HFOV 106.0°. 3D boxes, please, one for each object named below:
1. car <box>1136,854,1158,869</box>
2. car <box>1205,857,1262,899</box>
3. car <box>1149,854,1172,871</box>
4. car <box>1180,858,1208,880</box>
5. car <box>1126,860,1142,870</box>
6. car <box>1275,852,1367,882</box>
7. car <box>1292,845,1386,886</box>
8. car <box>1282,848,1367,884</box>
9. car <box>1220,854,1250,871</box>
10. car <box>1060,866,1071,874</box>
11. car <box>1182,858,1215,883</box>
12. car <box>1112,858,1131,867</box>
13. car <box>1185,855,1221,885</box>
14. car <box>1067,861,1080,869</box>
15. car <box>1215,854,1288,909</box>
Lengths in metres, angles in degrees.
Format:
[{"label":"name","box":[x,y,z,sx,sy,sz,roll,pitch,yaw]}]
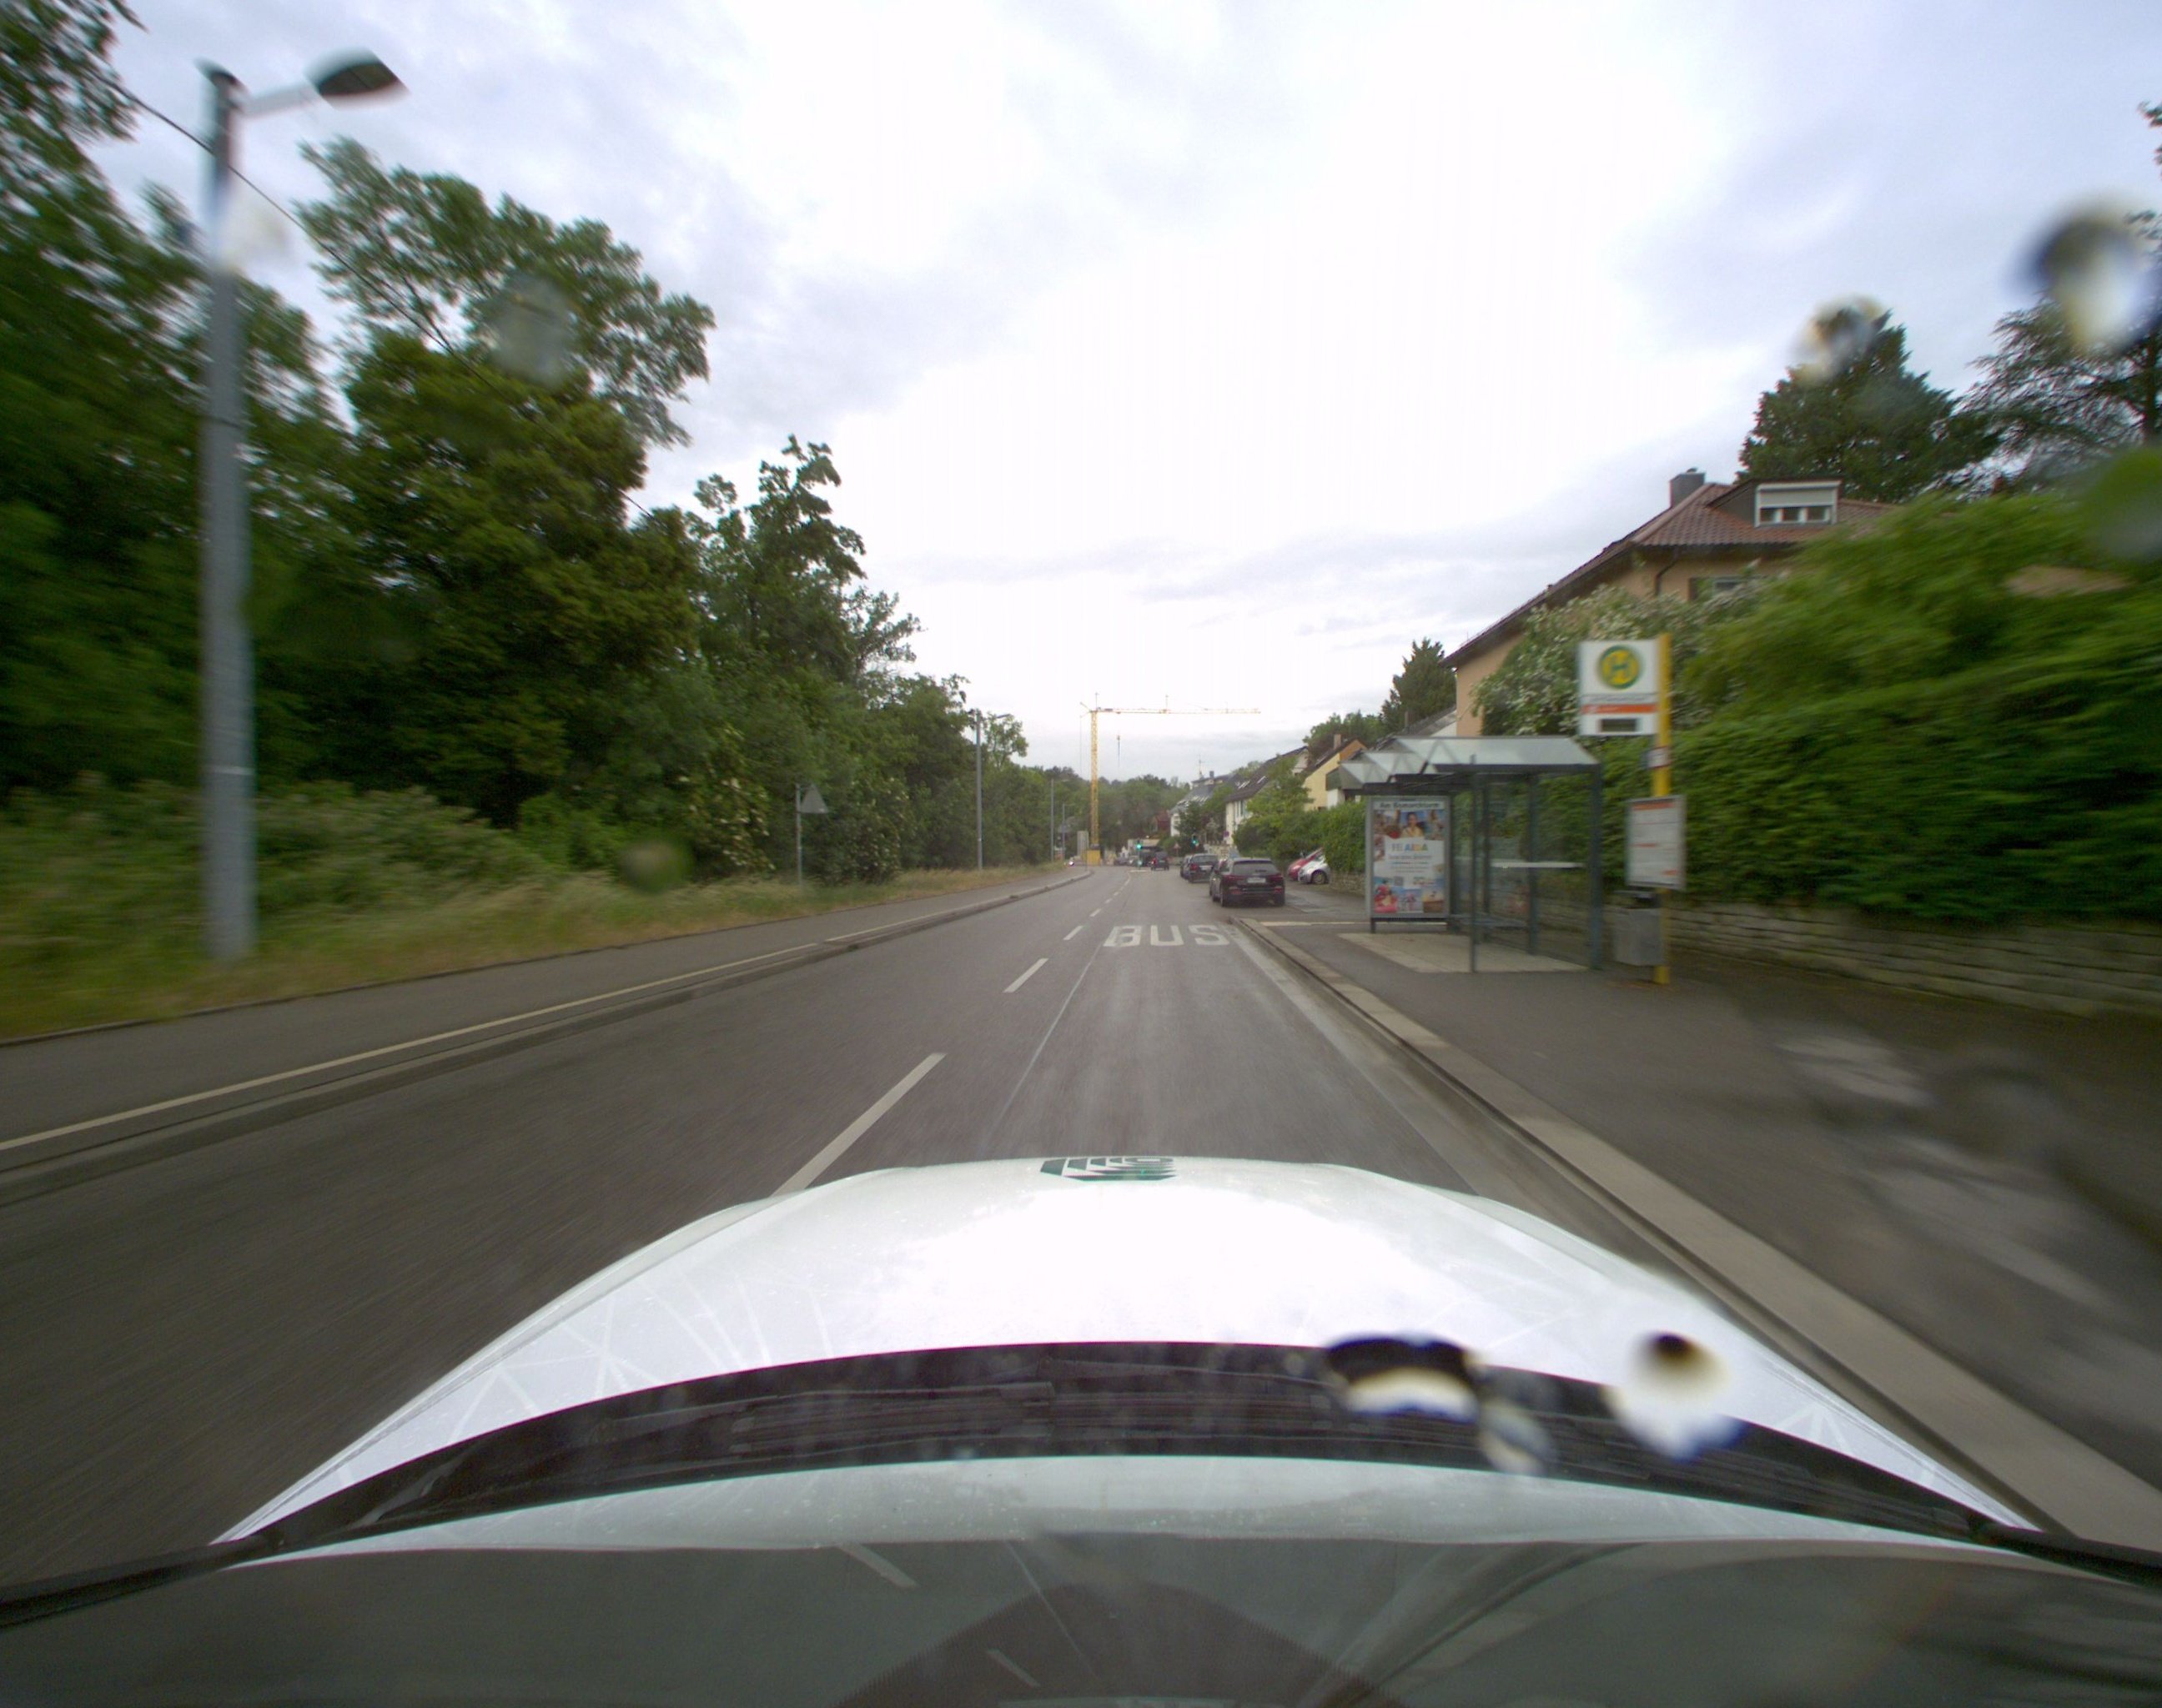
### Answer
[{"label":"car","box":[8.708,0.972,107.540,1.991,2.014,4.945,1,0,-7]},{"label":"car","box":[5.560,0.876,30.092,1.803,1.398,4.110,-1,-2,7]},{"label":"car","box":[8.215,0.910,84.765,1.926,1.751,3.998,2,-1,0]},{"label":"car","box":[7.871,1.054,57.143,1.743,1.443,4.607,-1,-1,5]},{"label":"car","box":[7.608,1.578,117.099,1.671,1.457,3.378,-2,-1,-6]},{"label":"car","box":[12.258,0.683,41.819,4.225,1.461,1.884,-1,-2,4]},{"label":"car","box":[11.602,0.519,36.783,3.643,1.536,1.829,-4,-1,2]},{"label":"car","box":[11.832,0.575,39.776,3.641,1.566,1.885,-3,-1,4]},{"label":"car","box":[15.394,0.842,81.629,1.928,1.596,4.335,2,-1,-4]},{"label":"car","box":[-2.723,2.821,145.292,1.737,1.460,4.415,-1,-1,2]},{"label":"car","box":[7.518,1.082,52.346,1.784,1.487,4.500,-1,-2,5]},{"label":"car","box":[6.517,1.328,131.038,1.932,1.422,4.819,1,0,-11]},{"label":"car","box":[6.874,0.863,46.189,1.722,1.568,4.528,-2,0,5]},{"label":"car","box":[-1.564,2.344,173.003,1.746,1.706,4.483,-3,0,-12]},{"label":"car","box":[5.216,0.840,25.443,1.820,1.547,4.638,-1,-2,7]}]
